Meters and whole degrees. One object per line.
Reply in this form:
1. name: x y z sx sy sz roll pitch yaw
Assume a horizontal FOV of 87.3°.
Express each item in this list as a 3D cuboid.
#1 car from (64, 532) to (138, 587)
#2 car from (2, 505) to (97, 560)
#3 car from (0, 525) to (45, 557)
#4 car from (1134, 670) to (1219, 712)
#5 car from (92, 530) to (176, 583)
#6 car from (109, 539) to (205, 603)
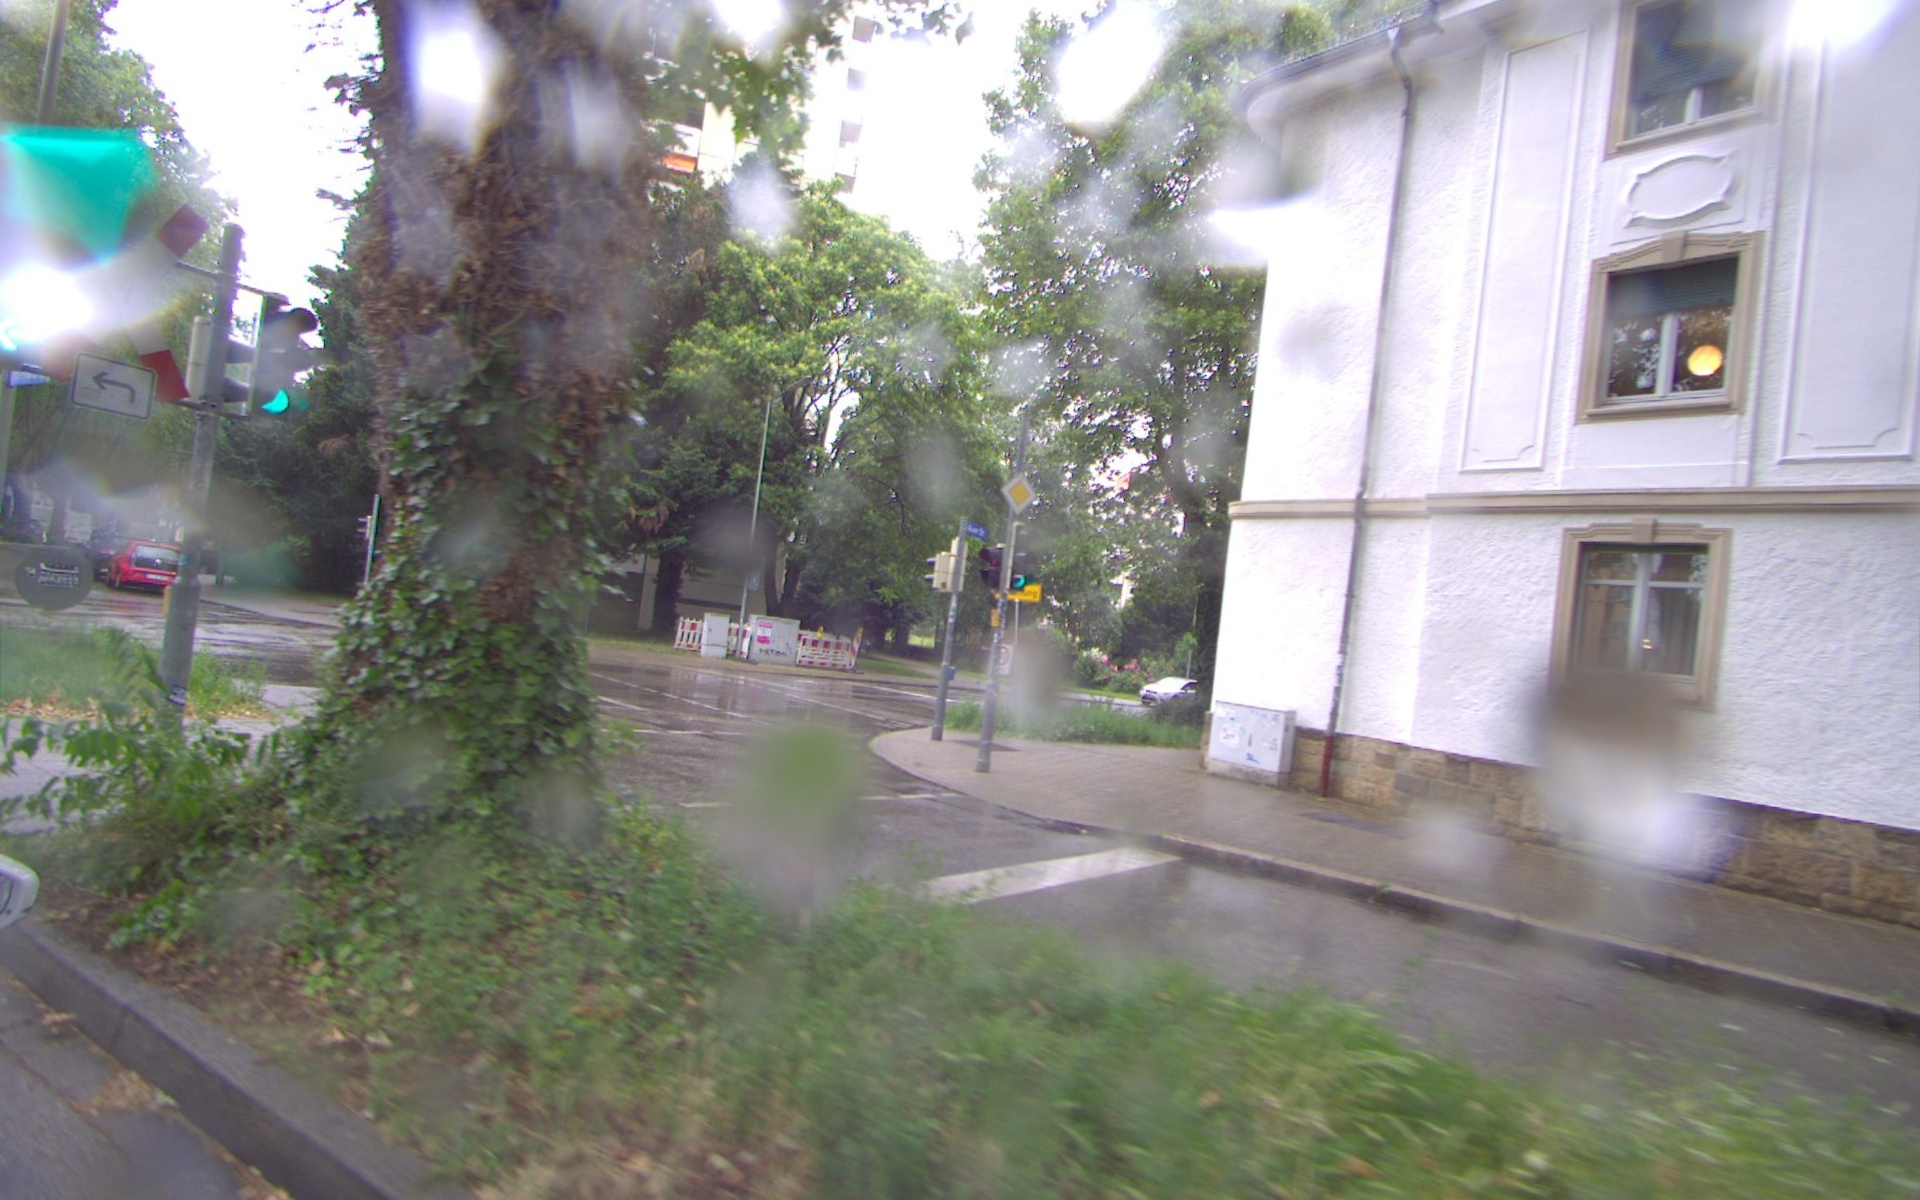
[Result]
1. car: -32.608 -1.564 38.160 1.779 1.747 3.951 8 -3 -44
2. car: -60.805 -4.501 67.216 4.680 2.982 2.043 6 -1 11
3. car: -55.877 -3.567 58.314 1.974 1.565 3.980 5 -3 44
4. car: 9.828 4.136 45.544 1.829 1.473 3.979 5 -3 45
5. car: -27.715 -1.486 33.710 1.780 1.363 3.879 10 -2 -44
6. car: -24.439 -0.900 30.555 1.788 1.515 3.951 9 -3 -44
